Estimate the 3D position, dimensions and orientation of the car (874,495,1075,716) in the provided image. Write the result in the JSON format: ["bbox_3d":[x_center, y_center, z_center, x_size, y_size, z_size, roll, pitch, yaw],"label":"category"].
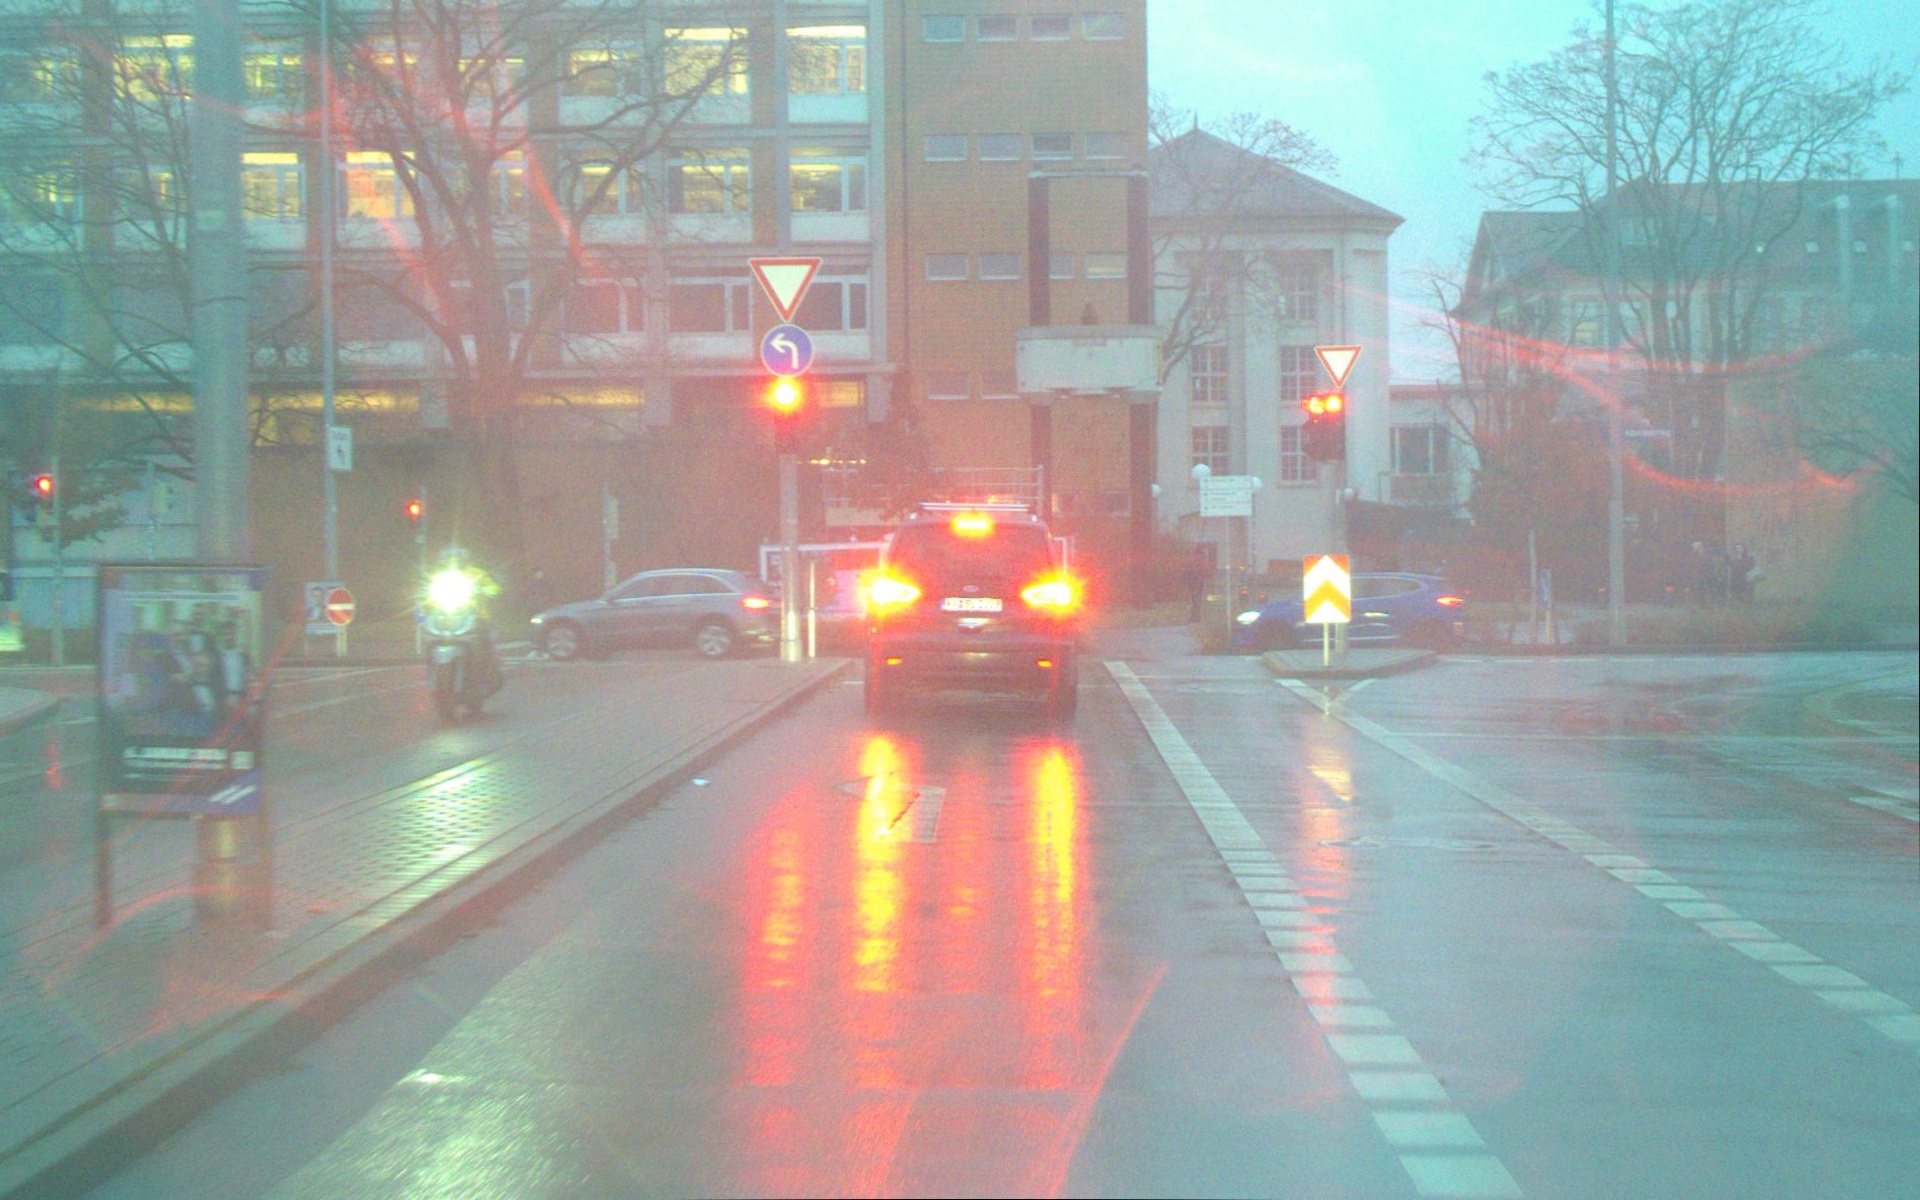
[{"bbox_3d":[0.161,0.005,30.621,1.647,1.812,4.000,1,1,1],"label":"car"}]

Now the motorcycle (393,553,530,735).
[{"bbox_3d":[-4.236,0.347,29.402,0.829,1.492,2.314,-1,1,0],"label":"motorcycle"}]

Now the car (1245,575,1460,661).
[{"bbox_3d":[6.715,0.311,58.761,3.413,1.393,1.468,1,-1,17],"label":"car"}]

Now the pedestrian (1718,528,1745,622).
[{"bbox_3d":[15.154,-0.482,67.487,0.438,1.832,0.459,1,-1,20],"label":"pedestrian"}]

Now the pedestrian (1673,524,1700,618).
[{"bbox_3d":[14.343,-0.574,67.841,0.438,1.832,0.459,1,-1,19],"label":"pedestrian"}]

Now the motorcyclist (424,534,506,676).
[{"bbox_3d":[-4.204,0.047,29.213,0.536,1.189,0.611,1,-1,5],"label":"motorcyclist"}]

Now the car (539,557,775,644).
[{"bbox_3d":[-5.436,0.006,61.741,3.919,1.480,1.468,1,-1,17],"label":"car"}]

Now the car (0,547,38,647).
[{"bbox_3d":[-20.610,-0.091,66.314,5.159,1.907,1.998,1,1,17],"label":"car"}]

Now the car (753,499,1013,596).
[{"bbox_3d":[-1.710,-1.168,76.971,5.548,2.017,1.999,1,-1,7],"label":"car"}]

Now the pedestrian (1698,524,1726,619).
[{"bbox_3d":[14.551,-0.553,66.547,0.458,1.832,0.438,1,-1,19],"label":"pedestrian"}]
